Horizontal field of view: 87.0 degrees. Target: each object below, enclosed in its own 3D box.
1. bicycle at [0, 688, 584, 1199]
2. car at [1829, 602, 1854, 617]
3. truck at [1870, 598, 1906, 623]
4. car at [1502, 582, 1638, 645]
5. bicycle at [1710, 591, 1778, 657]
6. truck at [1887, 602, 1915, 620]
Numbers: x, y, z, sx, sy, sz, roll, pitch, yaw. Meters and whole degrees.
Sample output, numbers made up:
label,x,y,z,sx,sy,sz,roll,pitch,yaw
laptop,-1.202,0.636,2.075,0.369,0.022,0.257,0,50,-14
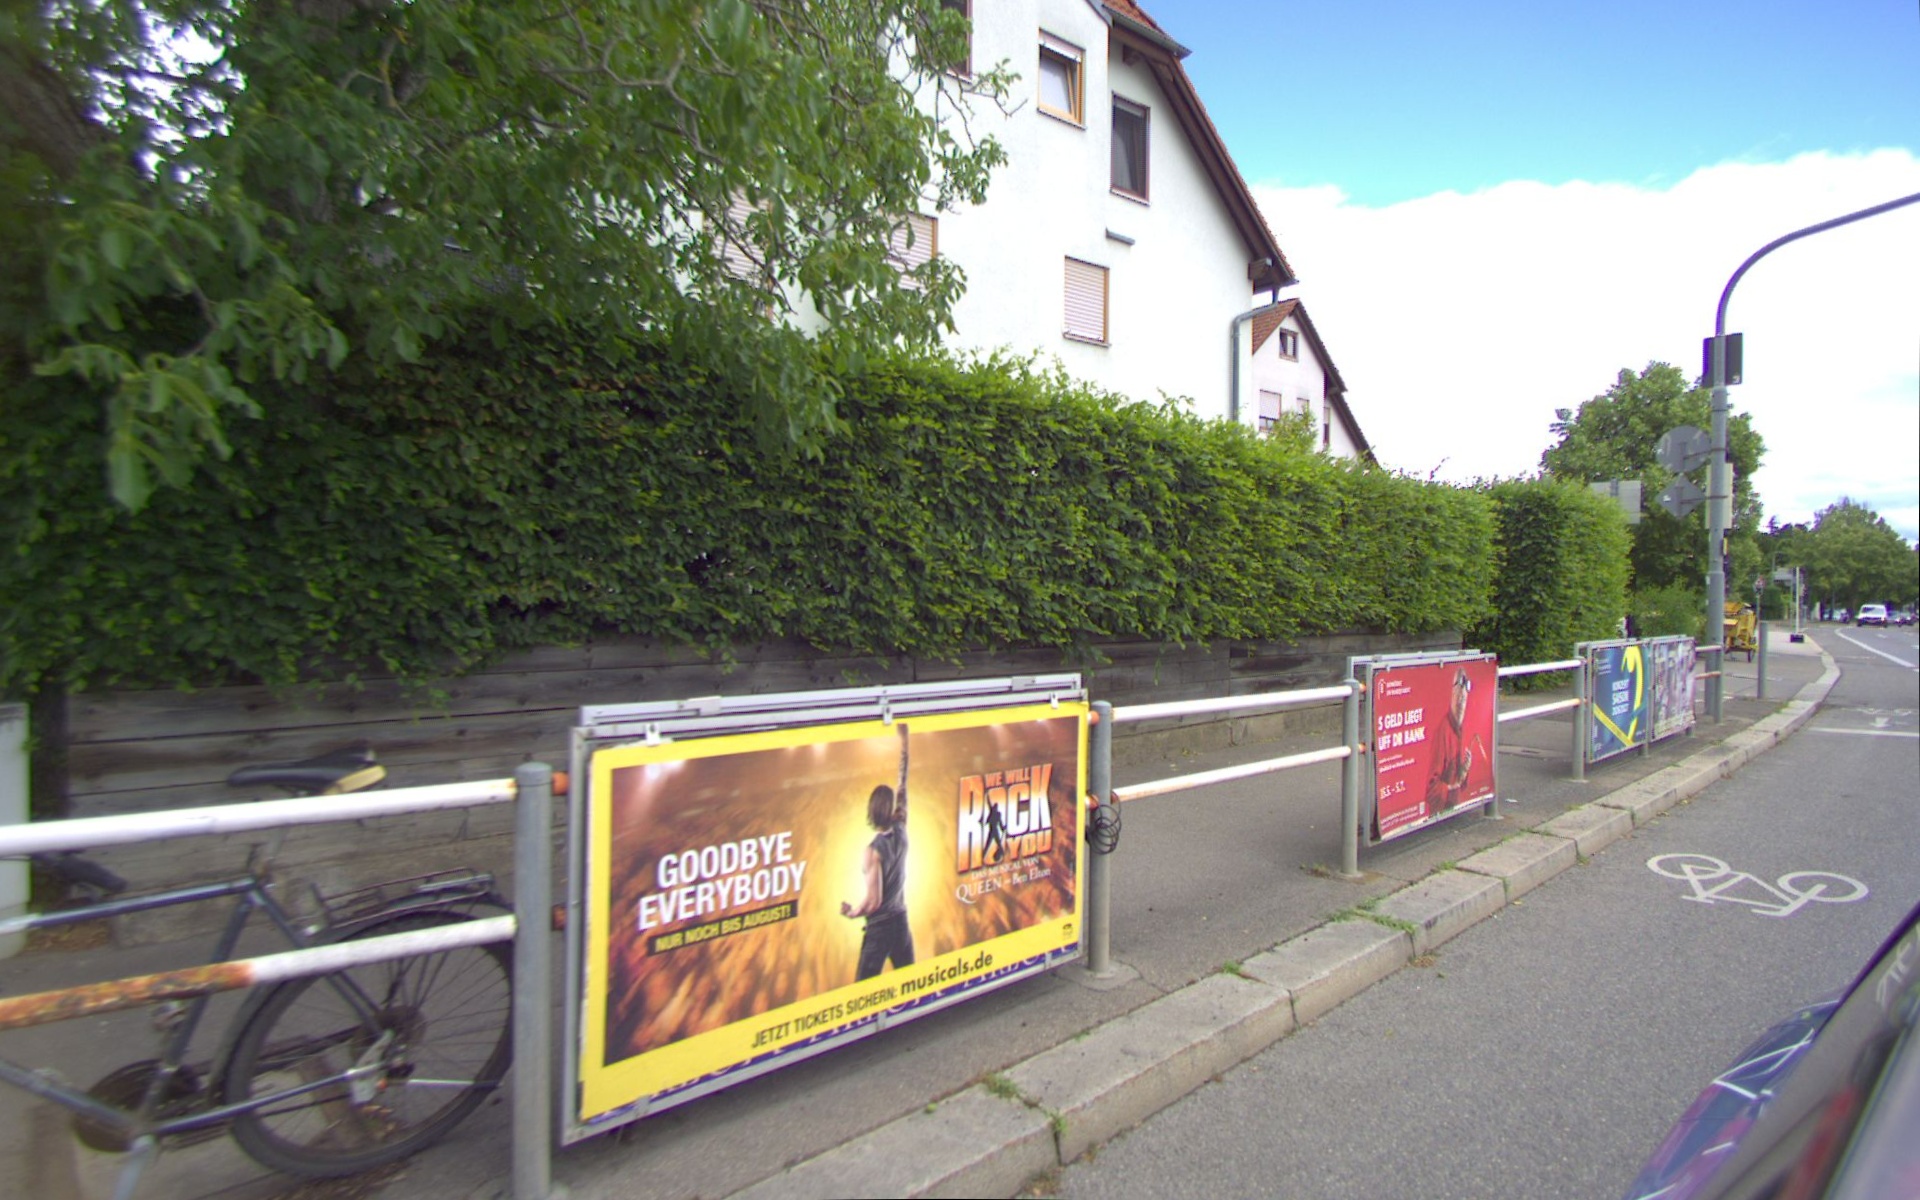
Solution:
label,x,y,z,sx,sy,sz,roll,pitch,yaw
bicycle,-1.630,0.767,2.082,1.478,1.041,0.629,0,0,-42
car,86.546,0.969,99.317,3.482,1.367,1.559,1,2,-45
truck,74.078,0.837,80.757,3.929,1.813,1.615,1,1,-40
car,16.098,0.378,26.651,3.983,1.523,1.675,2,-1,-37
bicycle,19.828,0.585,25.566,2.737,1.528,0.893,1,4,-45
truck,91.888,1.080,98.842,3.931,1.679,1.617,1,2,-42
